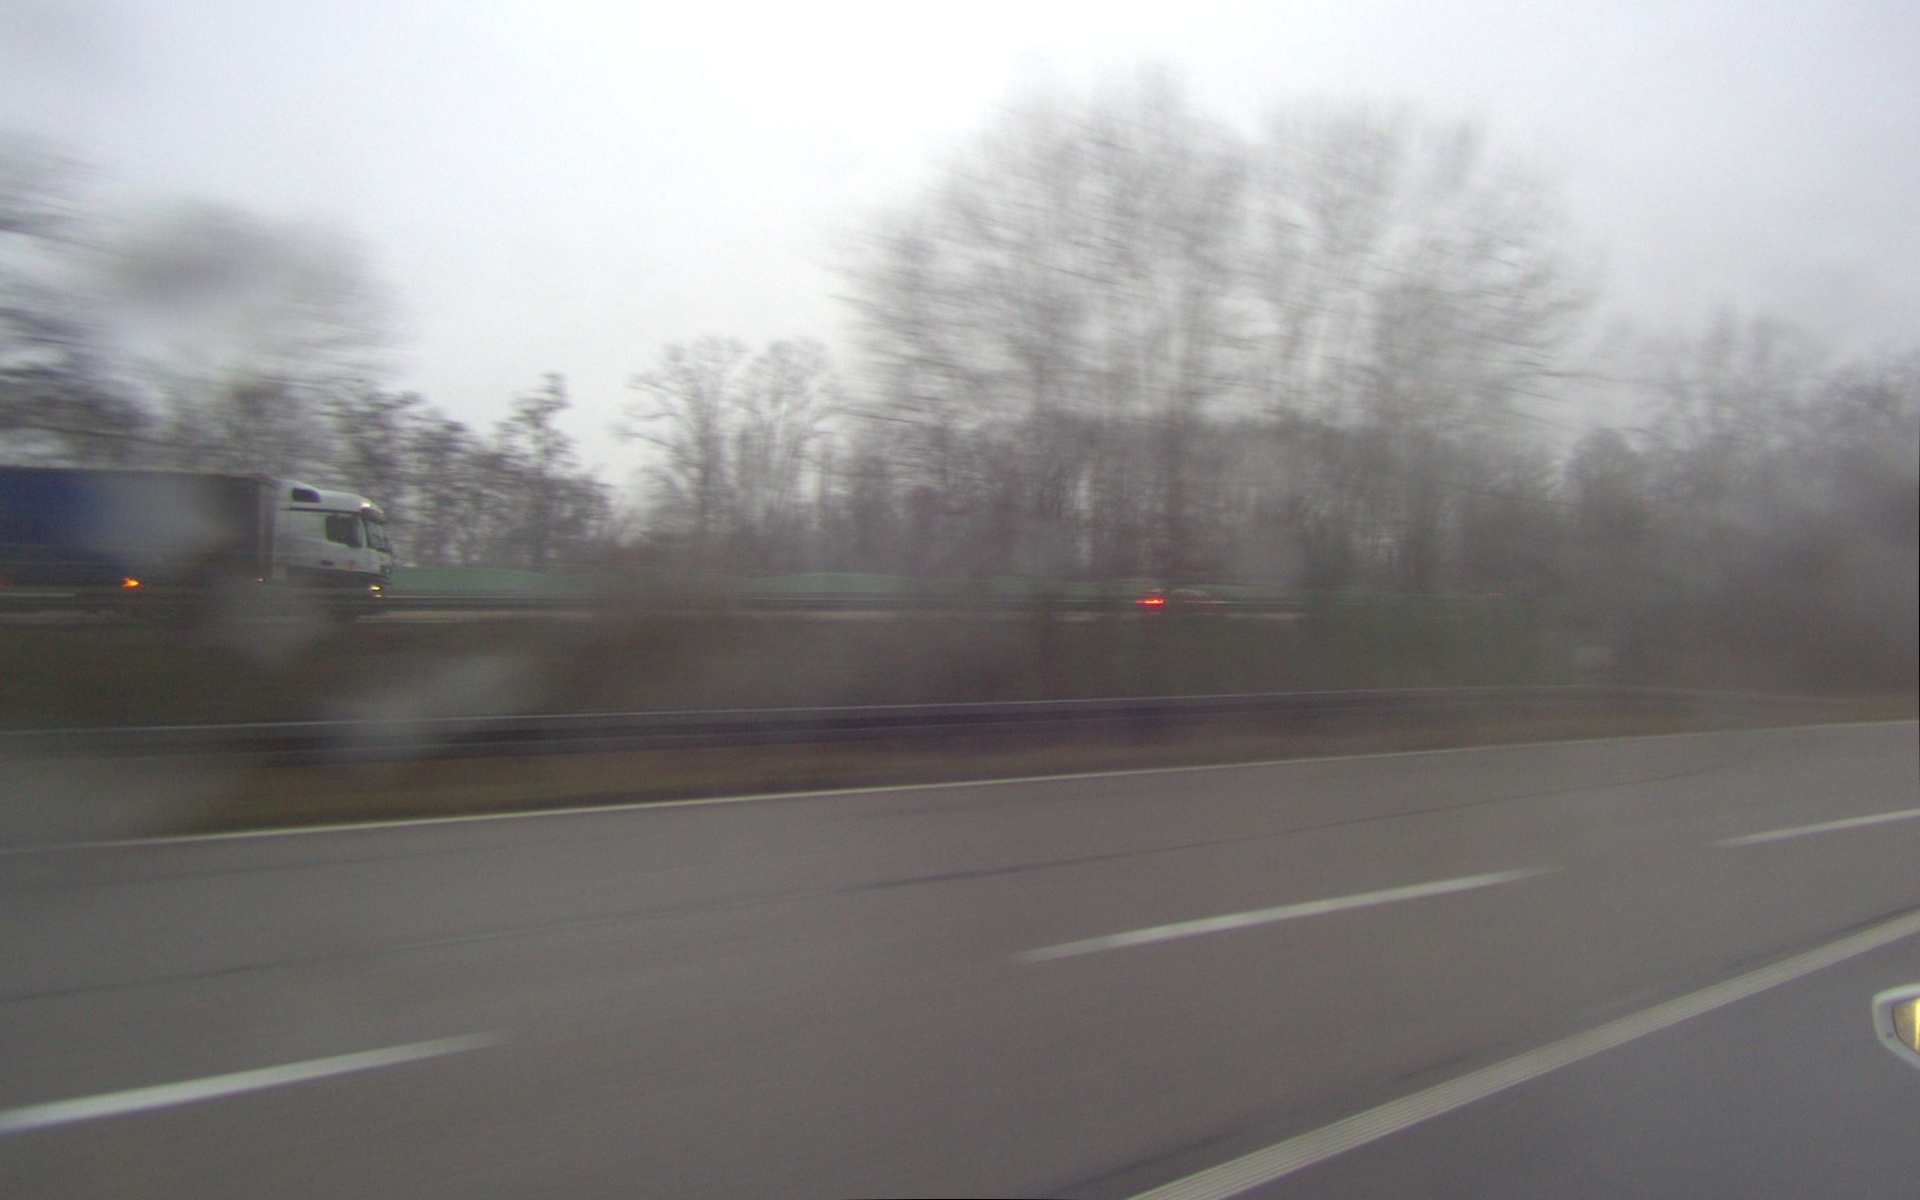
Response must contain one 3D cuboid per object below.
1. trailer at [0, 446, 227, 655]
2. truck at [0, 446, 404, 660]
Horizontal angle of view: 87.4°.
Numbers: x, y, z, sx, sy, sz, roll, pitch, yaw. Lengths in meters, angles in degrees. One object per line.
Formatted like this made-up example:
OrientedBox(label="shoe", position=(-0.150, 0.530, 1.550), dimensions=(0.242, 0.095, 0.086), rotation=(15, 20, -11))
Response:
OrientedBox(label="trailer", position=(-27.303, -1.366, 25.816), dimensions=(13.030, 5.170, 3.298), rotation=(2, -2, -20))
OrientedBox(label="truck", position=(-20.795, -1.059, 28.260), dimensions=(8.392, 5.197, 3.271), rotation=(2, -2, -21))
